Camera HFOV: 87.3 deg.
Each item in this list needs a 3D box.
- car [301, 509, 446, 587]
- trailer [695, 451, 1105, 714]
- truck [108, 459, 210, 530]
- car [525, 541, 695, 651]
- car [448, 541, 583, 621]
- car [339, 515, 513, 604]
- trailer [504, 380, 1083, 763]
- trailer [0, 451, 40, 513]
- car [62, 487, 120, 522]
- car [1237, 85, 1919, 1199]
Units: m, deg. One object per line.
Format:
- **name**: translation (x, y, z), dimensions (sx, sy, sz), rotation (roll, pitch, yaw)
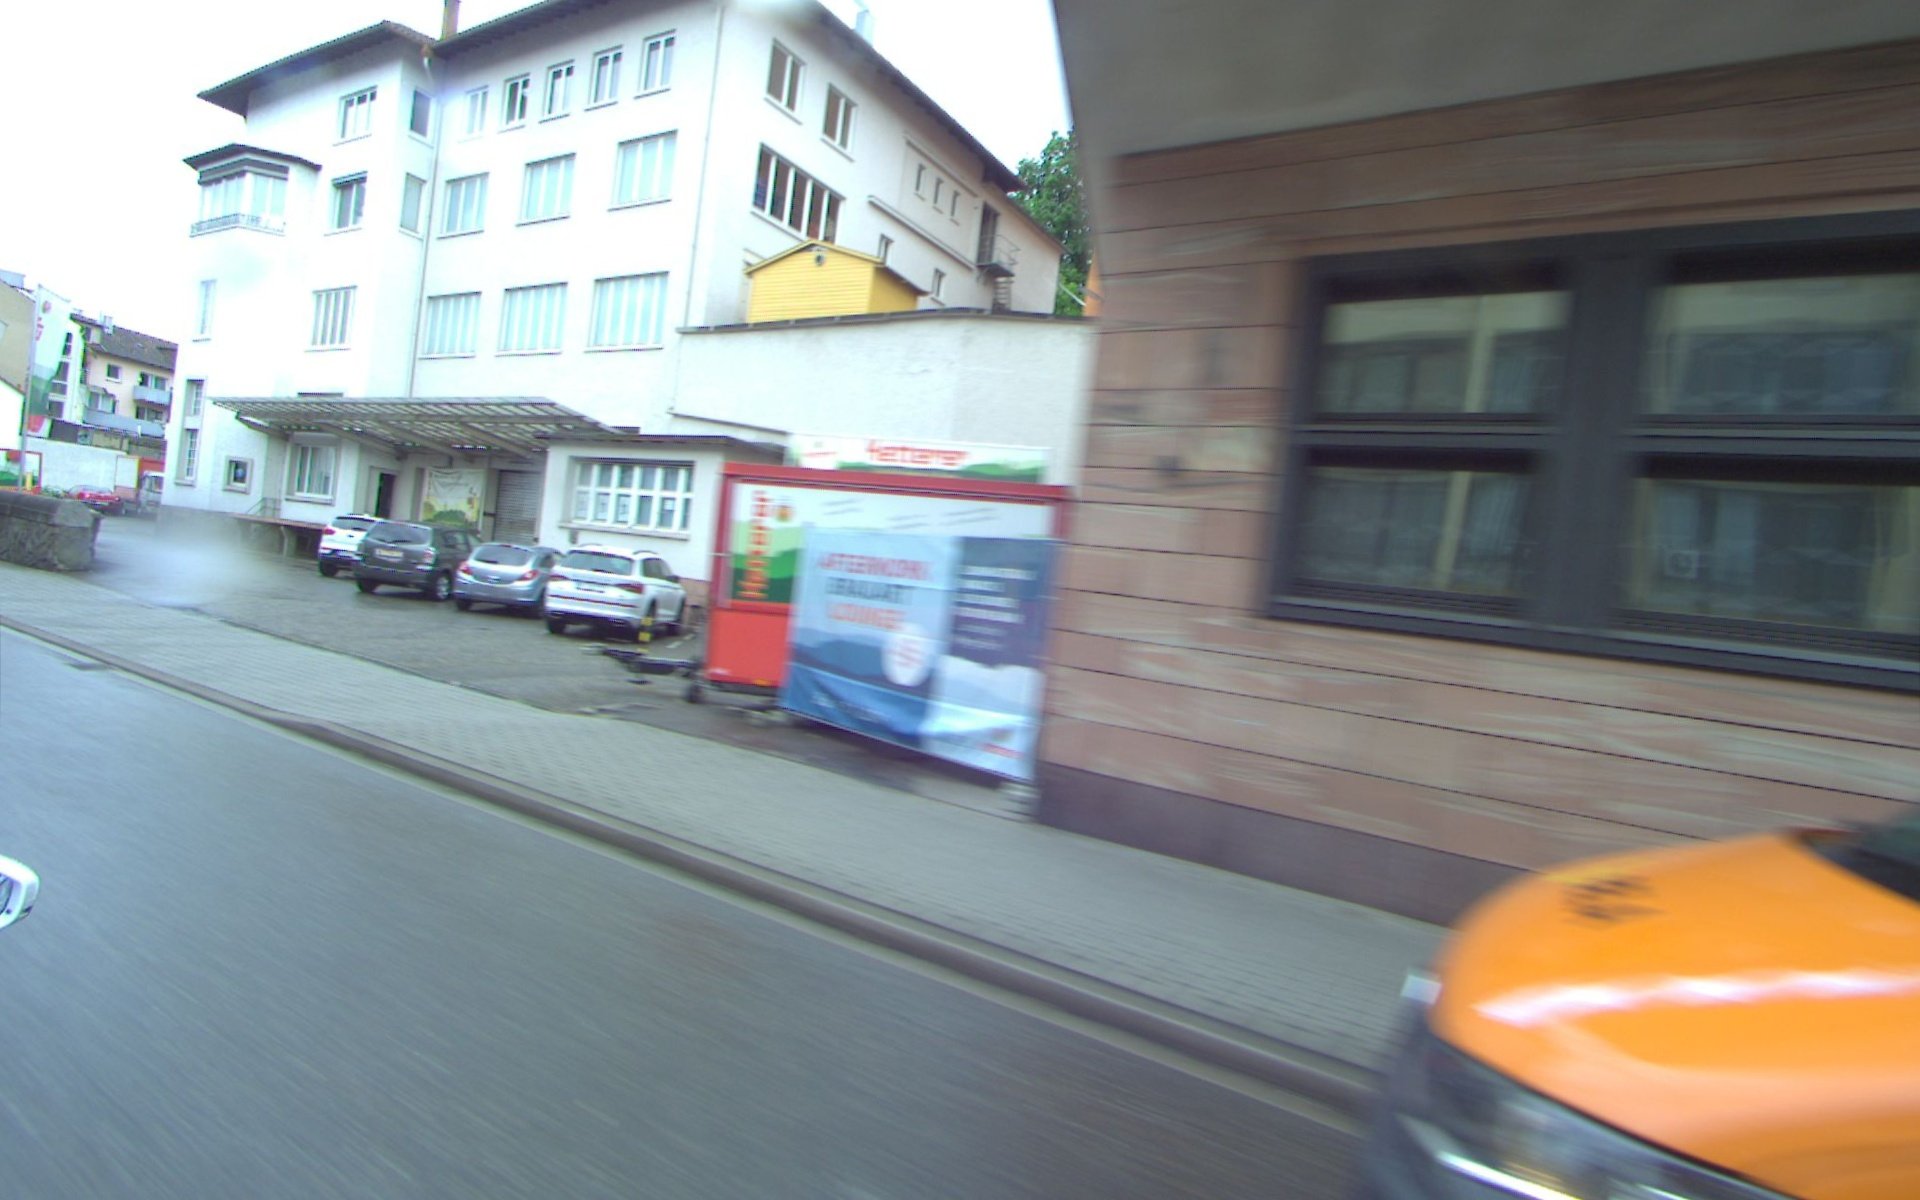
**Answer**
- **car**: translation (-14.969, -1.251, 25.945), dimensions (1.895, 1.586, 3.973), rotation (7, -1, -11)
- **trailer**: translation (-0.844, -0.291, 16.684), dimensions (5.956, 3.348, 2.751), rotation (7, 0, 11)
- **truck**: translation (-42.395, -5.623, 53.164), dimensions (6.826, 3.258, 2.628), rotation (7, 2, 38)
- **car**: translation (-6.583, -0.119, 19.438), dimensions (1.834, 1.670, 4.271), rotation (7, 1, -3)
- **car**: translation (-9.395, -0.437, 21.564), dimensions (1.616, 1.419, 3.832), rotation (5, 1, -9)
- **car**: translation (-11.829, -0.867, 22.605), dimensions (1.739, 1.603, 3.996), rotation (7, 1, -2)
- **trailer**: translation (-1.598, -0.325, 11.252), dimensions (5.607, 3.217, 2.636), rotation (6, 1, 7)
- **trailer**: translation (-46.926, -5.842, 48.950), dimensions (5.307, 2.753, 2.125), rotation (7, 3, 36)
- **car**: translation (-44.033, -4.838, 50.951), dimensions (3.215, 1.475, 1.588), rotation (7, 1, 38)
- **car**: translation (3.204, 0.826, 0.658), dimensions (5.452, 2.117, 2.101), rotation (7, 2, 33)
